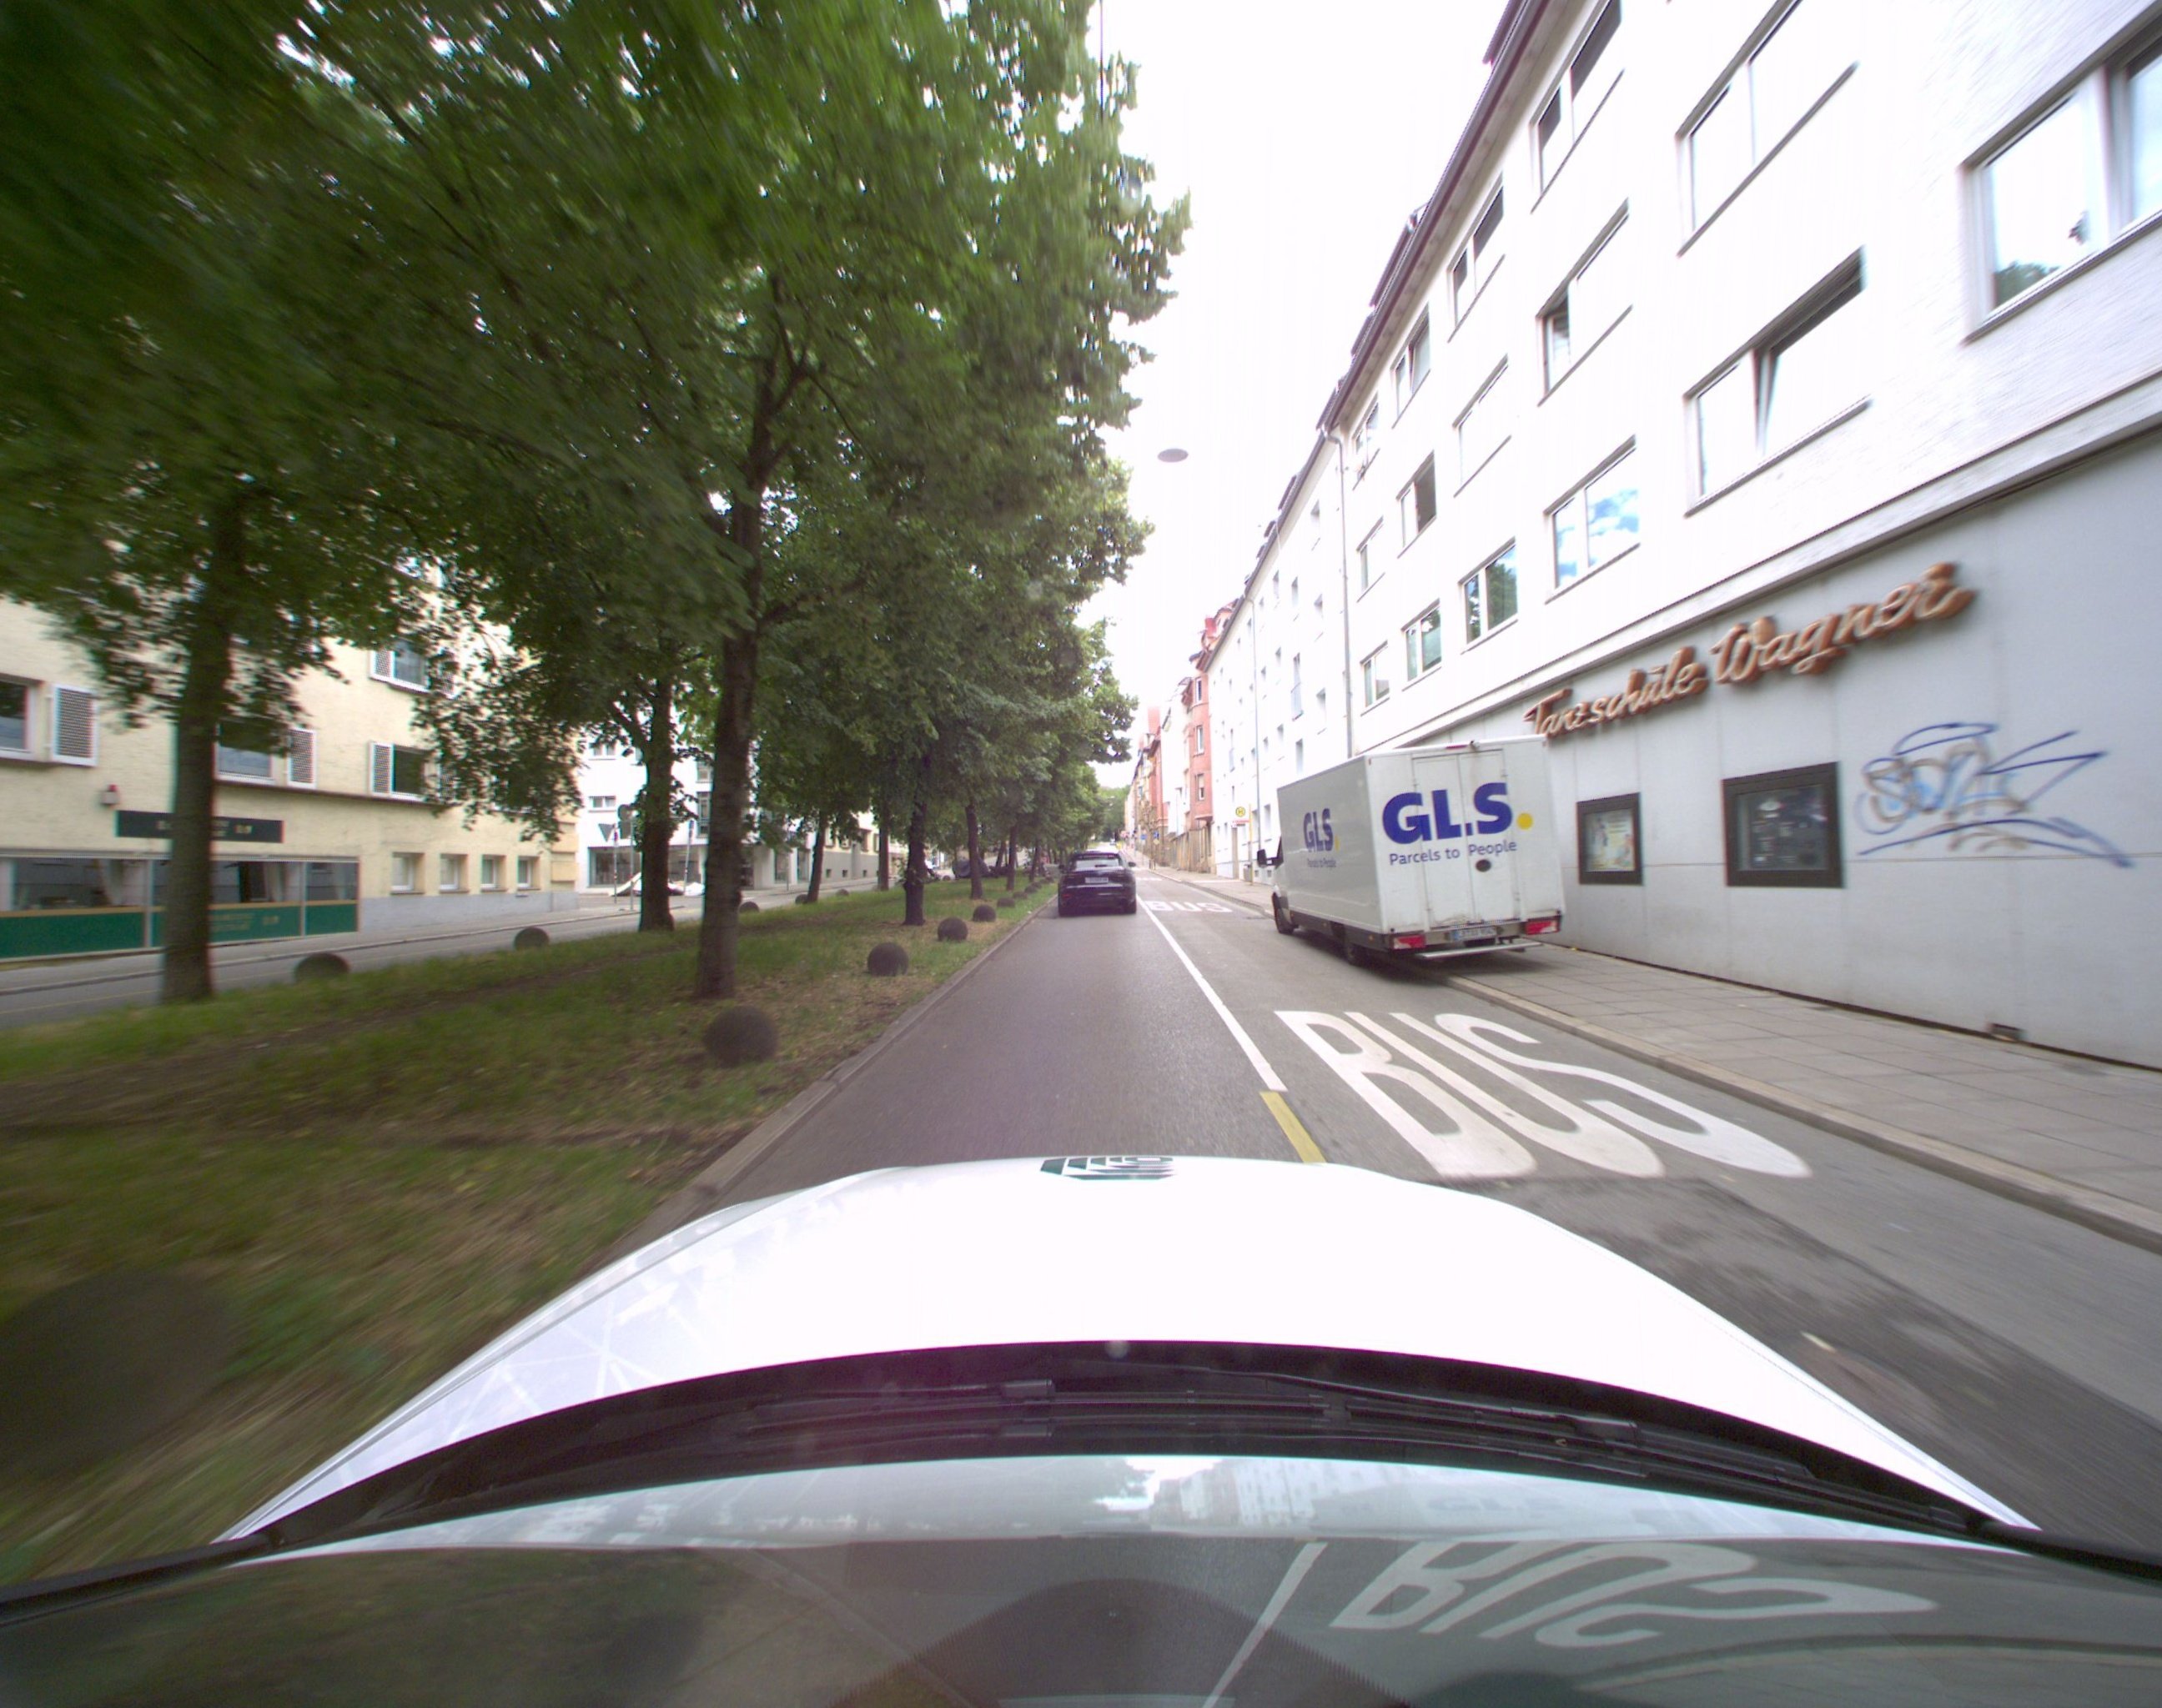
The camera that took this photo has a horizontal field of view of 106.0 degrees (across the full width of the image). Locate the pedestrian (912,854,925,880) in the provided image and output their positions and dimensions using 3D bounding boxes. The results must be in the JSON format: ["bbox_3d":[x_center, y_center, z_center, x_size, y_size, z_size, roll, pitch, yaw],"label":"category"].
[{"bbox_3d":[-10.304,0.829,51.630,0.632,1.613,0.764,0,0,-1],"label":"pedestrian"}]

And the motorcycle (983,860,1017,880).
[{"bbox_3d":[-5.323,1.061,53.650,2.018,1.235,0.898,-2,0,6],"label":"motorcycle"}]

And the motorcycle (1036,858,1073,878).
[{"bbox_3d":[-1.723,0.911,53.167,2.348,1.235,1.033,-1,2,0],"label":"motorcycle"}]

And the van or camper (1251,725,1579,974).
[{"bbox_3d":[4.597,-0.028,12.996,2.470,2.803,7.242,-1,0,2],"label":"van or camper"}]

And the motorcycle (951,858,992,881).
[{"bbox_3d":[-6.767,0.965,50.527,2.374,1.317,1.045,-1,0,0],"label":"motorcycle"}]

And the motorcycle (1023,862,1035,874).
[{"bbox_3d":[-4.936,1.370,77.657,0.897,1.107,2.252,-2,-2,2],"label":"motorcycle"}]

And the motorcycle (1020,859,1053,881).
[{"bbox_3d":[-2.741,1.018,50.506,1.918,1.297,0.893,-2,-2,-1],"label":"motorcycle"}]

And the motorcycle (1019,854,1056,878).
[{"bbox_3d":[-2.749,0.733,51.268,2.184,1.438,0.875,-1,0,3],"label":"motorcycle"}]

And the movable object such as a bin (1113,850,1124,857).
[{"bbox_3d":[7.286,-0.138,159.488,1.245,1.274,1.828,-1,-1,-32],"label":"movable object such as a bin"}]

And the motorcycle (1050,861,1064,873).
[{"bbox_3d":[-2.274,1.230,77.735,1.058,1.148,2.449,-2,0,2],"label":"motorcycle"}]

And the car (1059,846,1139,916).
[{"bbox_3d":[0.445,0.662,21.785,1.897,1.666,4.135,-1,0,0],"label":"car"}]

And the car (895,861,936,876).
[{"bbox_3d":[-17.948,1.523,88.695,3.972,1.497,2.001,-2,0,1],"label":"car"}]

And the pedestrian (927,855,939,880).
[{"bbox_3d":[-9.536,0.866,52.435,0.660,1.616,0.580,-1,0,3],"label":"pedestrian"}]
